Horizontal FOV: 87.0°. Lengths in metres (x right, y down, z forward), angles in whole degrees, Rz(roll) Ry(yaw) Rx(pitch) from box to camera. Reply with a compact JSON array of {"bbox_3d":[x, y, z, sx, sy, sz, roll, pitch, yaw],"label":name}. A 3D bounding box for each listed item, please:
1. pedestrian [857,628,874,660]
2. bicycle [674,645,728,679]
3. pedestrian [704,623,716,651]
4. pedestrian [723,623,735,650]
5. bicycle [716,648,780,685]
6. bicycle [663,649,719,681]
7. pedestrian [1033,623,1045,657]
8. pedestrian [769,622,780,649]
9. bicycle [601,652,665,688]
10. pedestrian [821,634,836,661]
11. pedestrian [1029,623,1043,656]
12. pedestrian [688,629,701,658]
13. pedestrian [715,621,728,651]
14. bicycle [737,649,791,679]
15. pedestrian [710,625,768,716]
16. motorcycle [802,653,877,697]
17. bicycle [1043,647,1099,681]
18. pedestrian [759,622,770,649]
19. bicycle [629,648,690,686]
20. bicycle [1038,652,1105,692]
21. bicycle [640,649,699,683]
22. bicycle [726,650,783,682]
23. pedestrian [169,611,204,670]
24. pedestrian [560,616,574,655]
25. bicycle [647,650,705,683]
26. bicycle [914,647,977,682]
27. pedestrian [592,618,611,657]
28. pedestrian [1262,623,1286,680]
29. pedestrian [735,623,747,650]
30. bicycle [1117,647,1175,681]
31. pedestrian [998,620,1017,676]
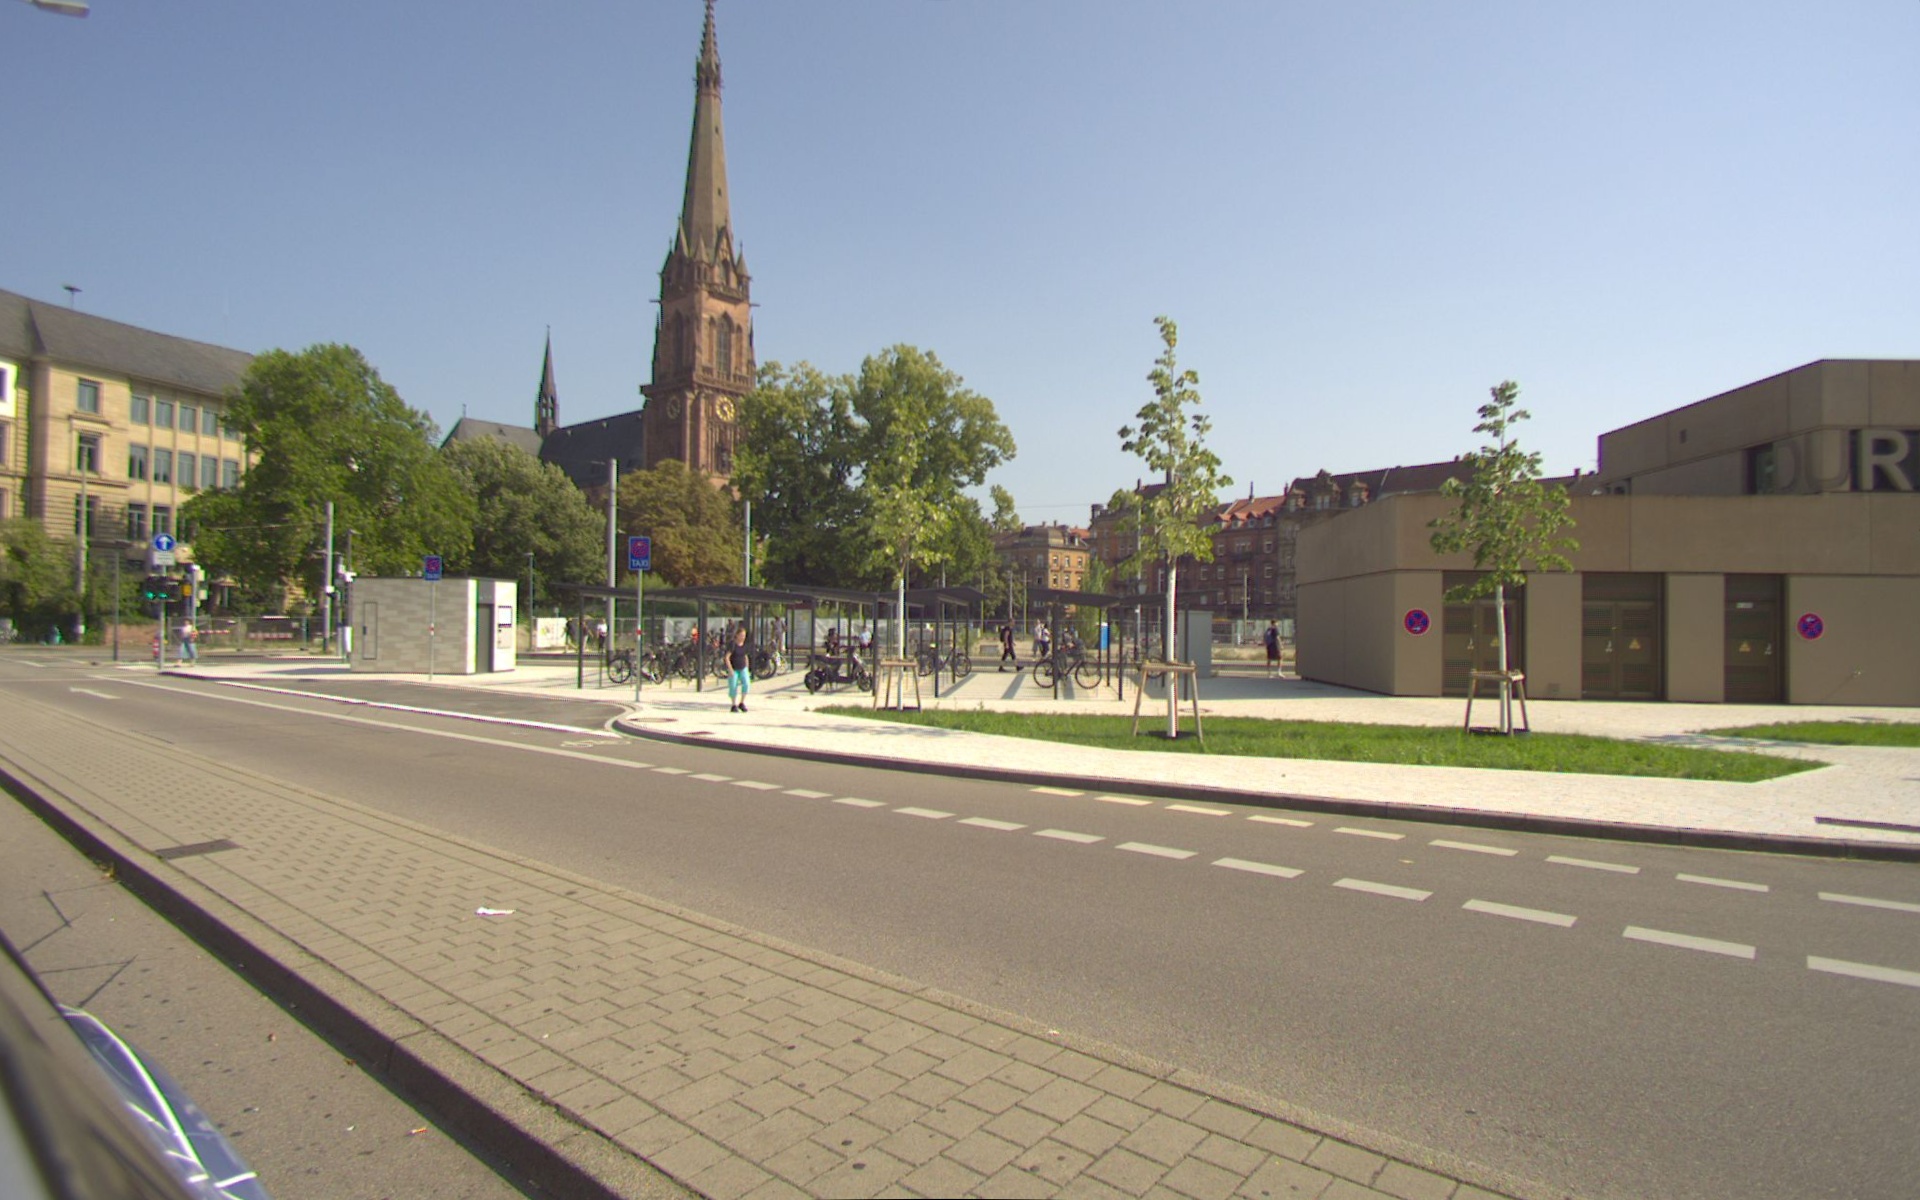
[{"bbox_3d":[-4.173,1.946,44.671,0.636,1.405,0.661,0,-2,4],"label":"pedestrian"},{"bbox_3d":[-8.012,1.908,31.304,1.569,0.985,0.451,0,0,7],"label":"bicycle"},{"bbox_3d":[-11.533,1.703,46.665,0.378,1.233,0.439,-1,0,8],"label":"pedestrian"},{"bbox_3d":[-10.759,1.687,47.084,0.378,1.233,0.439,-1,0,8],"label":"pedestrian"},{"bbox_3d":[-6.022,1.878,28.723,1.693,0.994,0.532,0,-2,7],"label":"bicycle"},{"bbox_3d":[-7.985,1.934,30.078,1.569,0.899,0.400,0,-2,7],"label":"bicycle"},{"bbox_3d":[3.406,1.701,43.586,0.464,1.432,0.567,-1,0,8],"label":"pedestrian"},{"bbox_3d":[-8.625,1.652,47.008,0.378,1.233,0.439,-1,0,8],"label":"pedestrian"},{"bbox_3d":[-8.520,1.828,26.370,1.569,0.899,0.400,0,-2,7],"label":"bicycle"},{"bbox_3d":[-5.835,2.104,44.961,0.567,1.206,0.467,0,-2,8],"label":"pedestrian"},{"bbox_3d":[3.339,1.714,44.394,0.562,1.432,0.468,-1,0,8],"label":"pedestrian"},{"bbox_3d":[-12.219,2.011,46.548,0.411,1.328,0.392,-1,0,11],"label":"pedestrian"},{"bbox_3d":[-10.721,1.633,45.469,0.430,1.328,0.439,-1,0,8],"label":"pedestrian"},{"bbox_3d":[-6.023,1.957,31.141,1.569,0.899,0.409,0,-2,7],"label":"bicycle"},{"bbox_3d":[-3.937,1.246,18.079,0.663,1.577,0.748,0,-3,23],"label":"pedestrian"},{"bbox_3d":[-2.929,1.813,24.672,1.725,1.017,0.542,0,-2,7],"label":"motorcycle"},{"bbox_3d":[3.469,1.984,31.637,1.725,1.017,0.400,0,-2,7],"label":"bicycle"},{"bbox_3d":[-9.099,1.660,47.052,0.378,1.233,0.439,-1,0,8],"label":"pedestrian"},{"bbox_3d":[-8.211,1.825,27.665,1.569,0.975,0.421,0,-2,7],"label":"bicycle"},{"bbox_3d":[2.914,1.873,26.474,1.725,1.017,0.400,0,-2,7],"label":"bicycle"},{"bbox_3d":[-8.151,1.852,28.411,1.569,0.899,0.400,0,-2,7],"label":"bicycle"},{"bbox_3d":[-6.021,1.942,29.658,1.569,0.899,0.409,0,-2,7],"label":"bicycle"},{"bbox_3d":[-27.184,1.428,35.590,0.721,2.029,0.716,1,-2,-16],"label":"pedestrian"},{"bbox_3d":[-17.471,1.577,44.979,0.510,1.720,0.505,2,-2,-25],"label":"pedestrian"},{"bbox_3d":[-8.125,1.897,28.964,1.569,0.899,0.409,0,-2,7],"label":"bicycle"},{"bbox_3d":[-0.426,1.941,30.550,1.852,1.017,0.460,0,-2,7],"label":"bicycle"},{"bbox_3d":[-16.352,1.710,46.155,0.388,1.762,0.708,-1,-2,39],"label":"pedestrian"},{"bbox_3d":[9.940,1.609,32.033,0.649,1.783,0.473,-1,-2,31],"label":"pedestrian"},{"bbox_3d":[-10.159,1.673,46.947,0.378,1.233,0.439,-1,0,8],"label":"pedestrian"},{"bbox_3d":[5.745,1.974,31.265,1.723,1.028,0.473,0,-2,6],"label":"bicycle"},{"bbox_3d":[1.569,1.571,33.340,0.585,1.815,0.333,0,-2,2],"label":"pedestrian"}]
